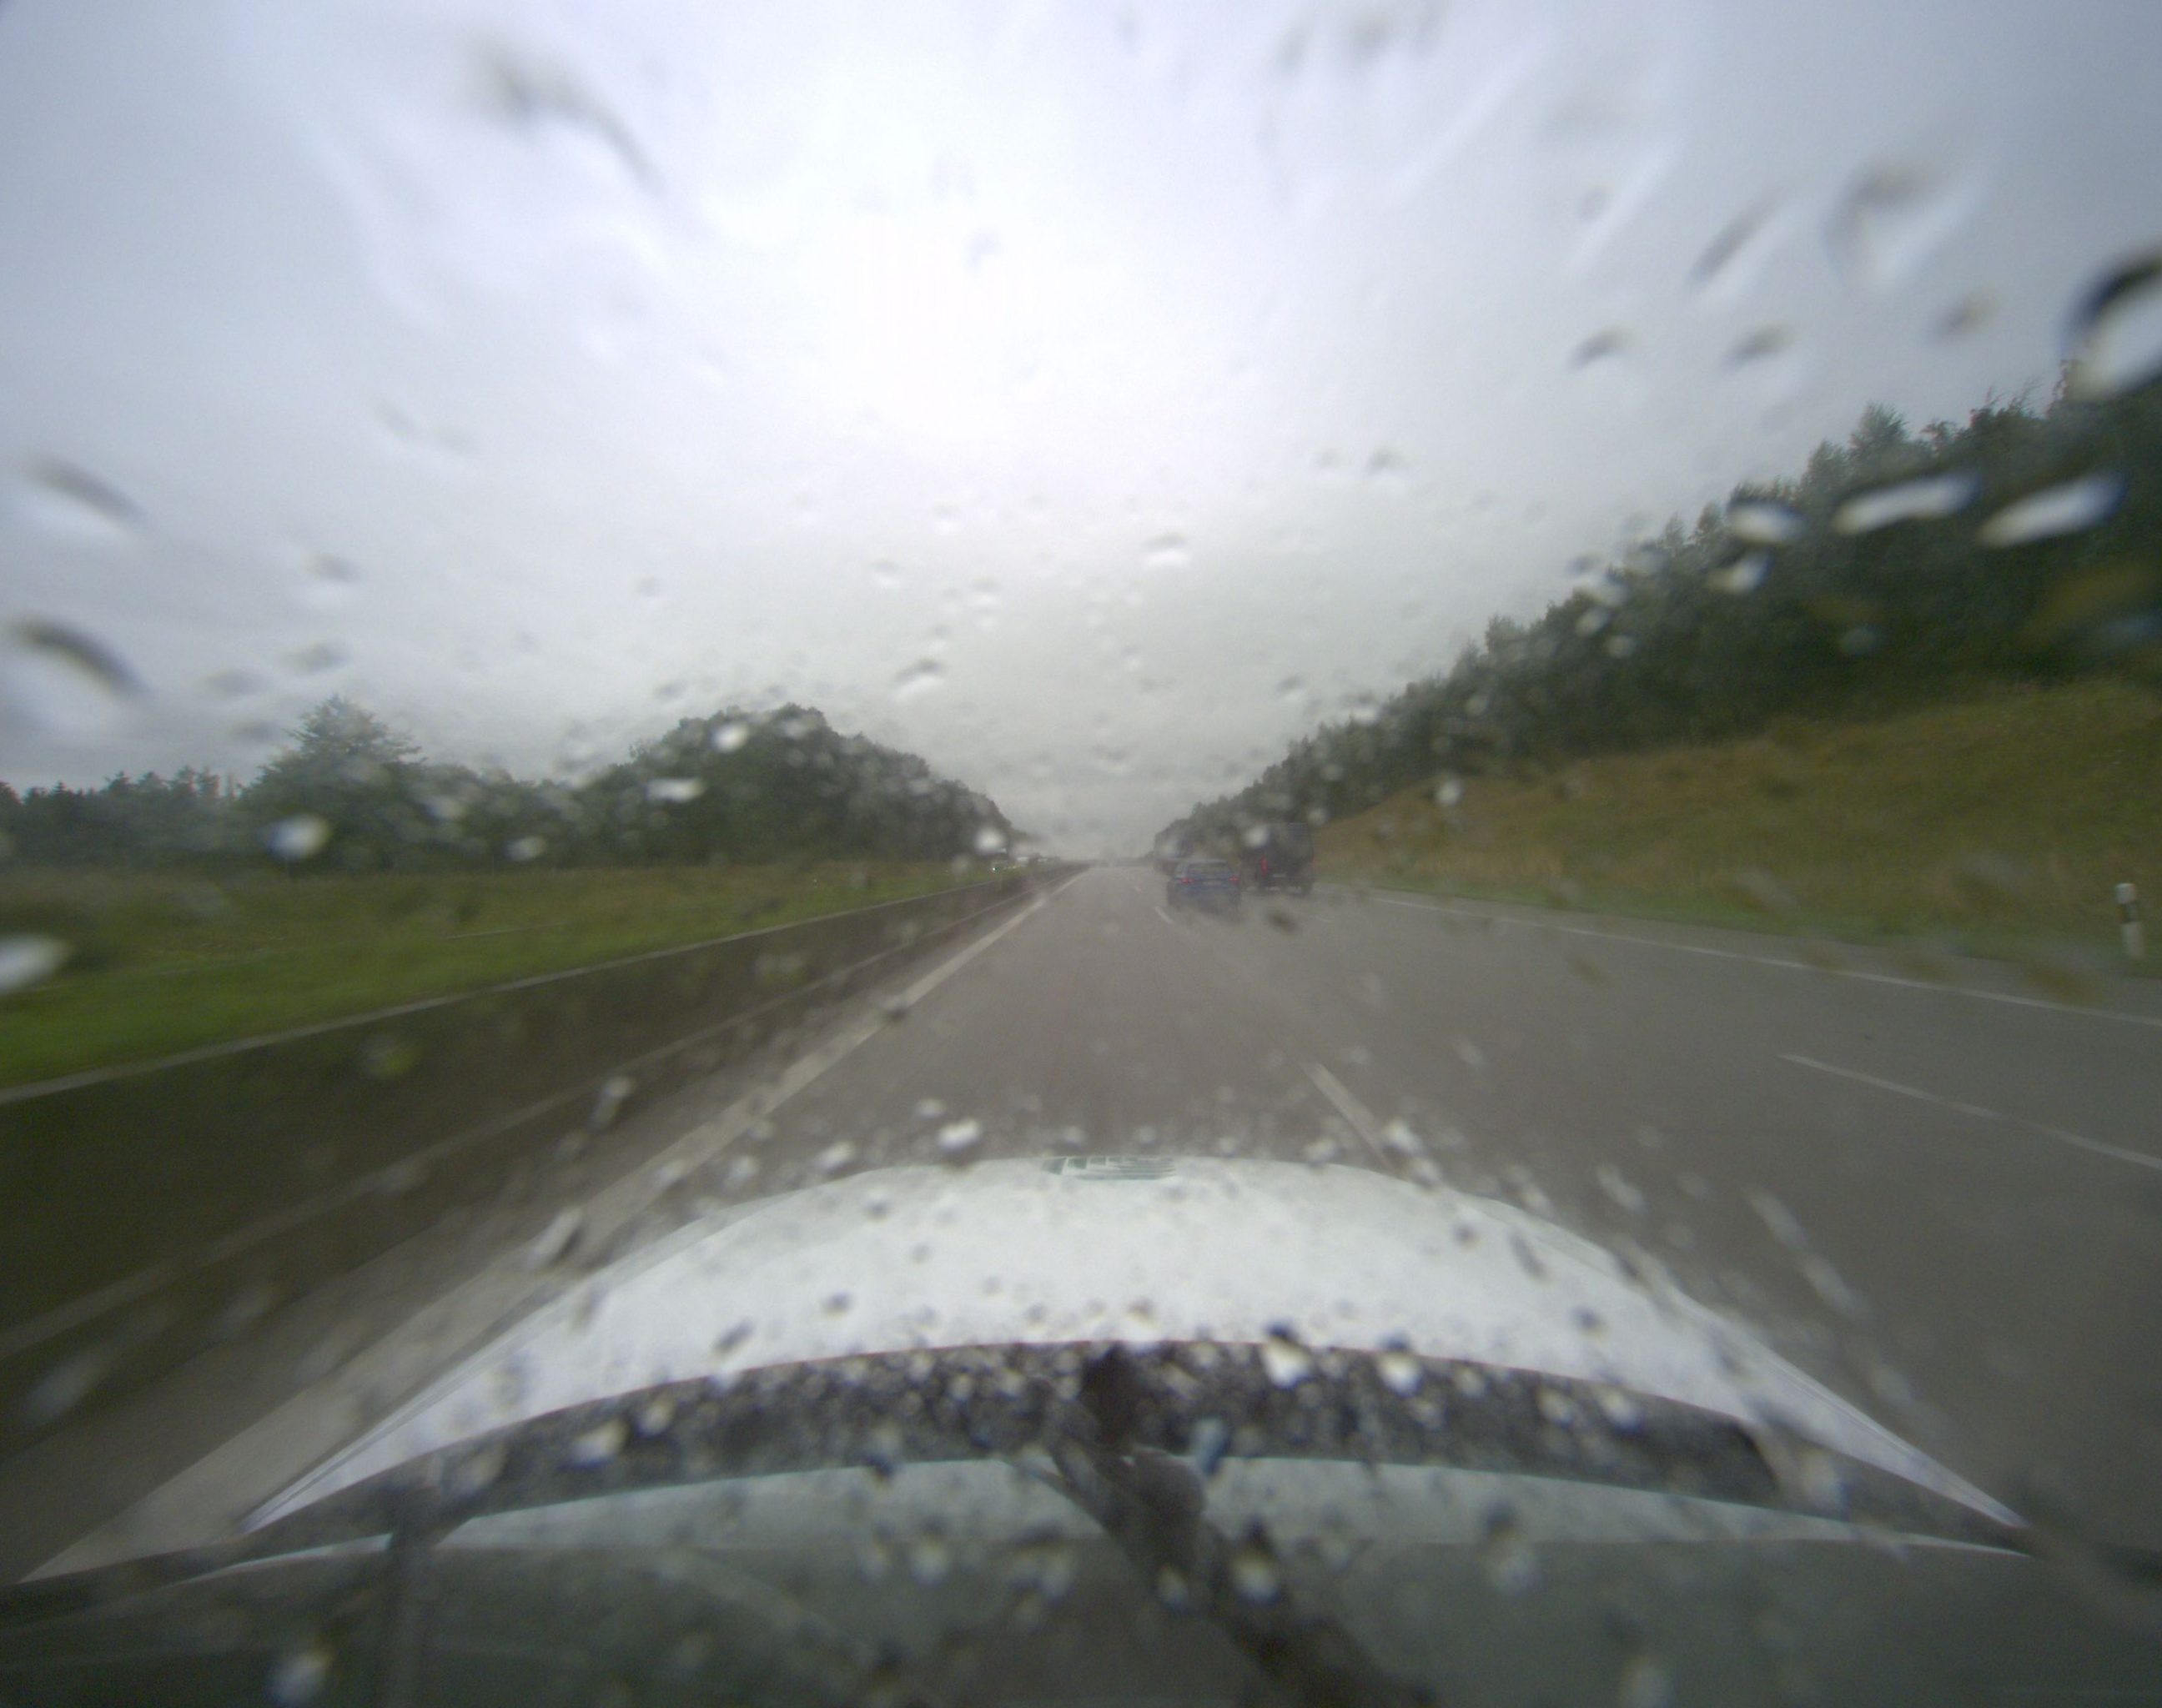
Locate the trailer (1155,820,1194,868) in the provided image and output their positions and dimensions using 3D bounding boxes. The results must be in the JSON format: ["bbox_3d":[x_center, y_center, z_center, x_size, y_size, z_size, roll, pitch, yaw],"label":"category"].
[{"bbox_3d":[9.359,-0.783,83.203,2.696,4.380,15.210,-1,-1,2],"label":"trailer"}]

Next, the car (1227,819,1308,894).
[{"bbox_3d":[7.275,0.101,32.497,1.933,2.659,6.589,0,0,2],"label":"car"}]

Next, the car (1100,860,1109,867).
[{"bbox_3d":[4.629,1.943,161.413,1.723,1.331,4.430,-2,0,1],"label":"car"}]

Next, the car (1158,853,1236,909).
[{"bbox_3d":[3.351,0.797,24.307,1.723,1.459,4.672,-2,-2,1],"label":"car"}]
